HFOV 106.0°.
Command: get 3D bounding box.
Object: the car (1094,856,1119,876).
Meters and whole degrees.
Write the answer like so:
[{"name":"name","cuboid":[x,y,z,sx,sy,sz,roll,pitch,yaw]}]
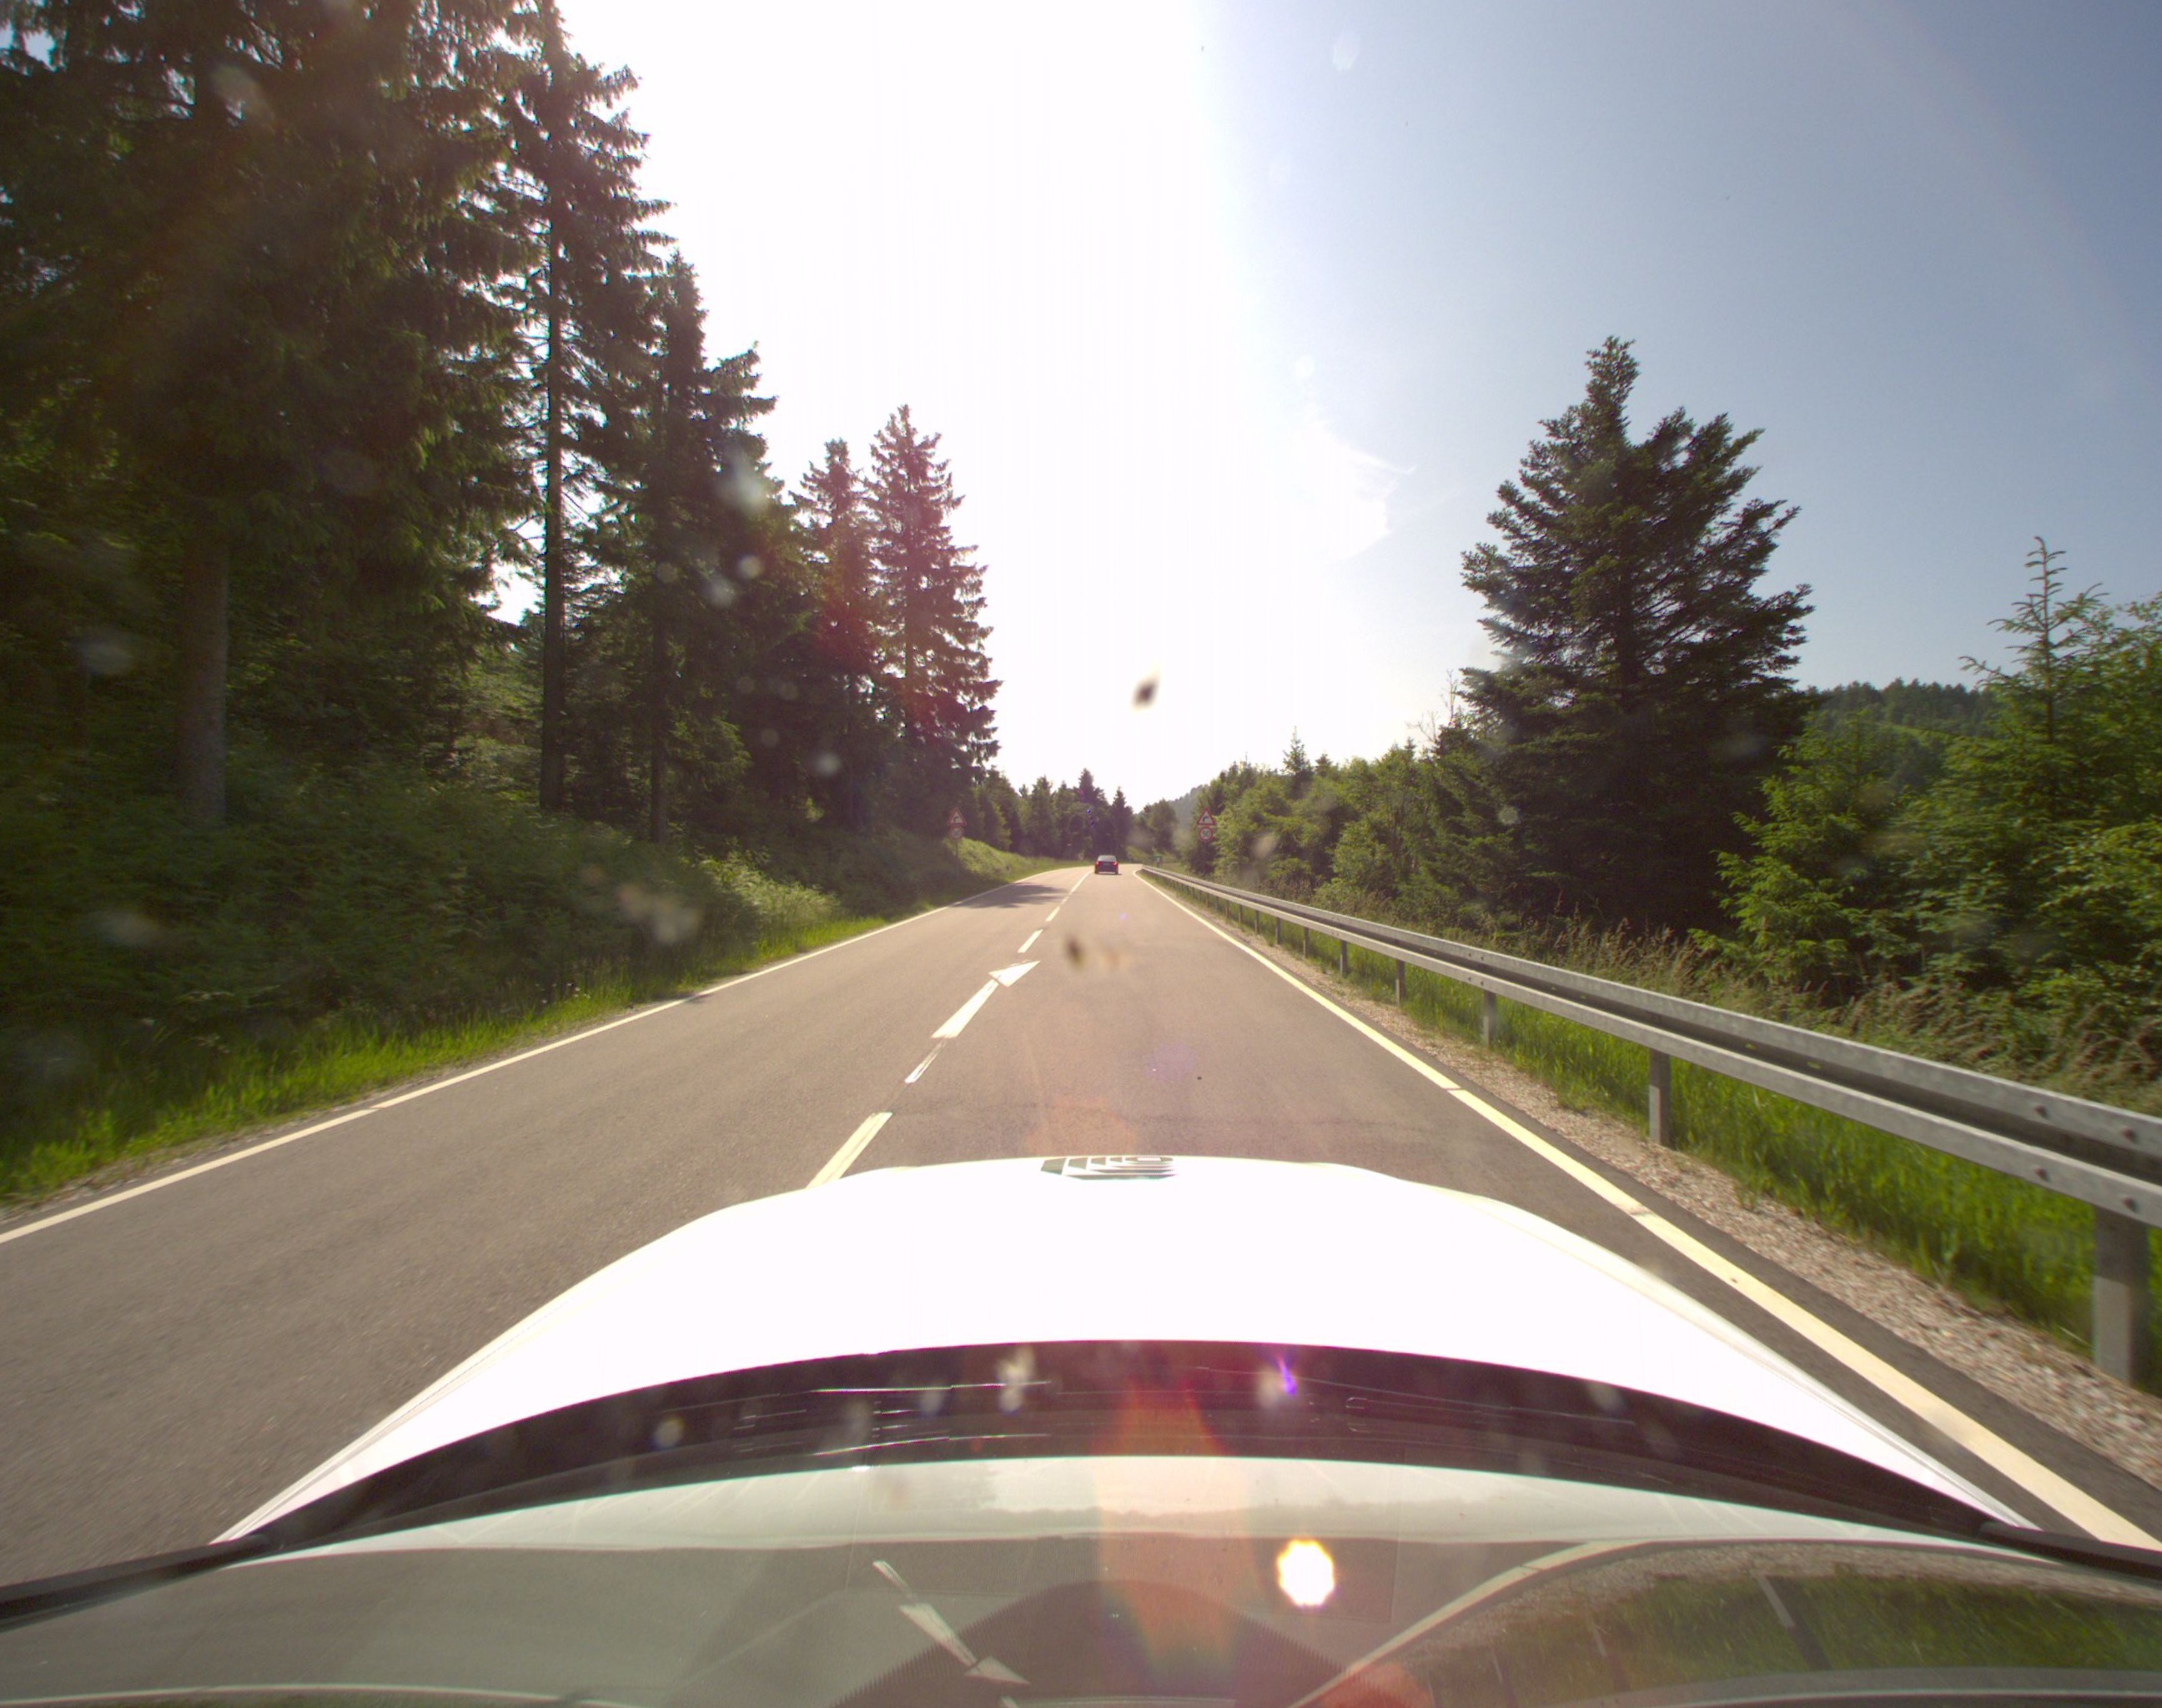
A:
[{"name":"car","cuboid":[1.976,0.885,62.174,1.768,1.442,3.713,0,0,4]}]
